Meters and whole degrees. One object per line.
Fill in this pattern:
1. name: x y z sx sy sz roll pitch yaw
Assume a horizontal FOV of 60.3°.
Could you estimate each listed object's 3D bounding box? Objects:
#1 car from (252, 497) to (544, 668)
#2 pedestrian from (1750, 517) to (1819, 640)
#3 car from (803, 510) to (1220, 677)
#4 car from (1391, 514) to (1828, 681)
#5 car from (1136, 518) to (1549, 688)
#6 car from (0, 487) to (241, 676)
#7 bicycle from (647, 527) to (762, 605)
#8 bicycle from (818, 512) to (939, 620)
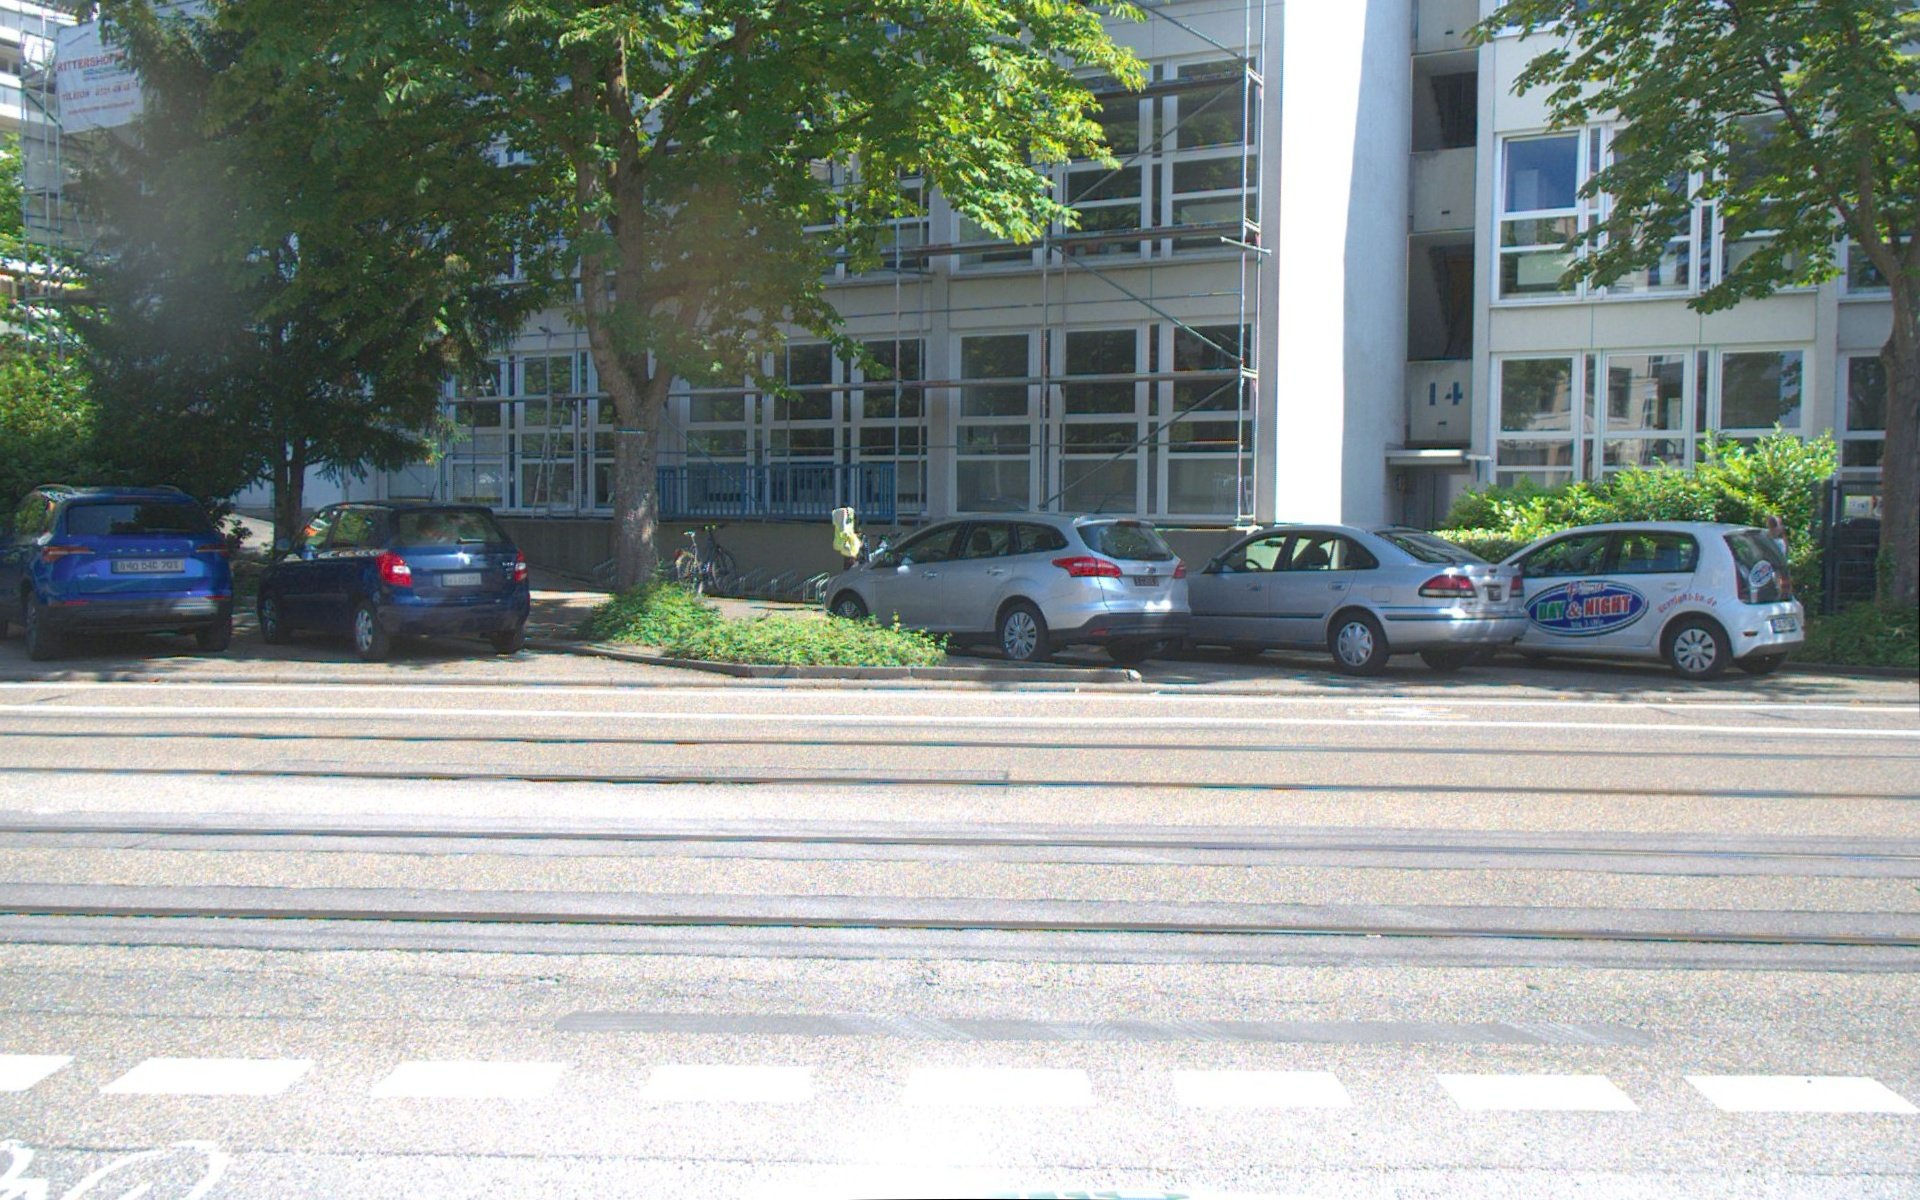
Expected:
1. car: -5.789 -0.245 16.851 1.564 1.557 3.404 -2 3 -43
2. pedestrian: 10.101 -0.266 20.277 0.607 1.486 0.424 0 2 -1
3. car: 0.410 -0.164 17.126 1.771 1.511 4.366 -2 3 -43
4. car: 6.520 -0.084 16.913 1.600 1.512 3.885 -2 2 -42
5. car: 3.754 -0.061 16.751 1.599 1.511 3.887 -2 3 -41
6. car: -8.833 -0.304 16.891 1.763 1.650 3.891 -3 5 -39
7. bicycle: -3.782 -0.535 24.695 0.725 1.104 2.204 1 3 20
8. bicycle: -1.140 -0.503 23.697 0.649 1.478 2.085 2 3 32
